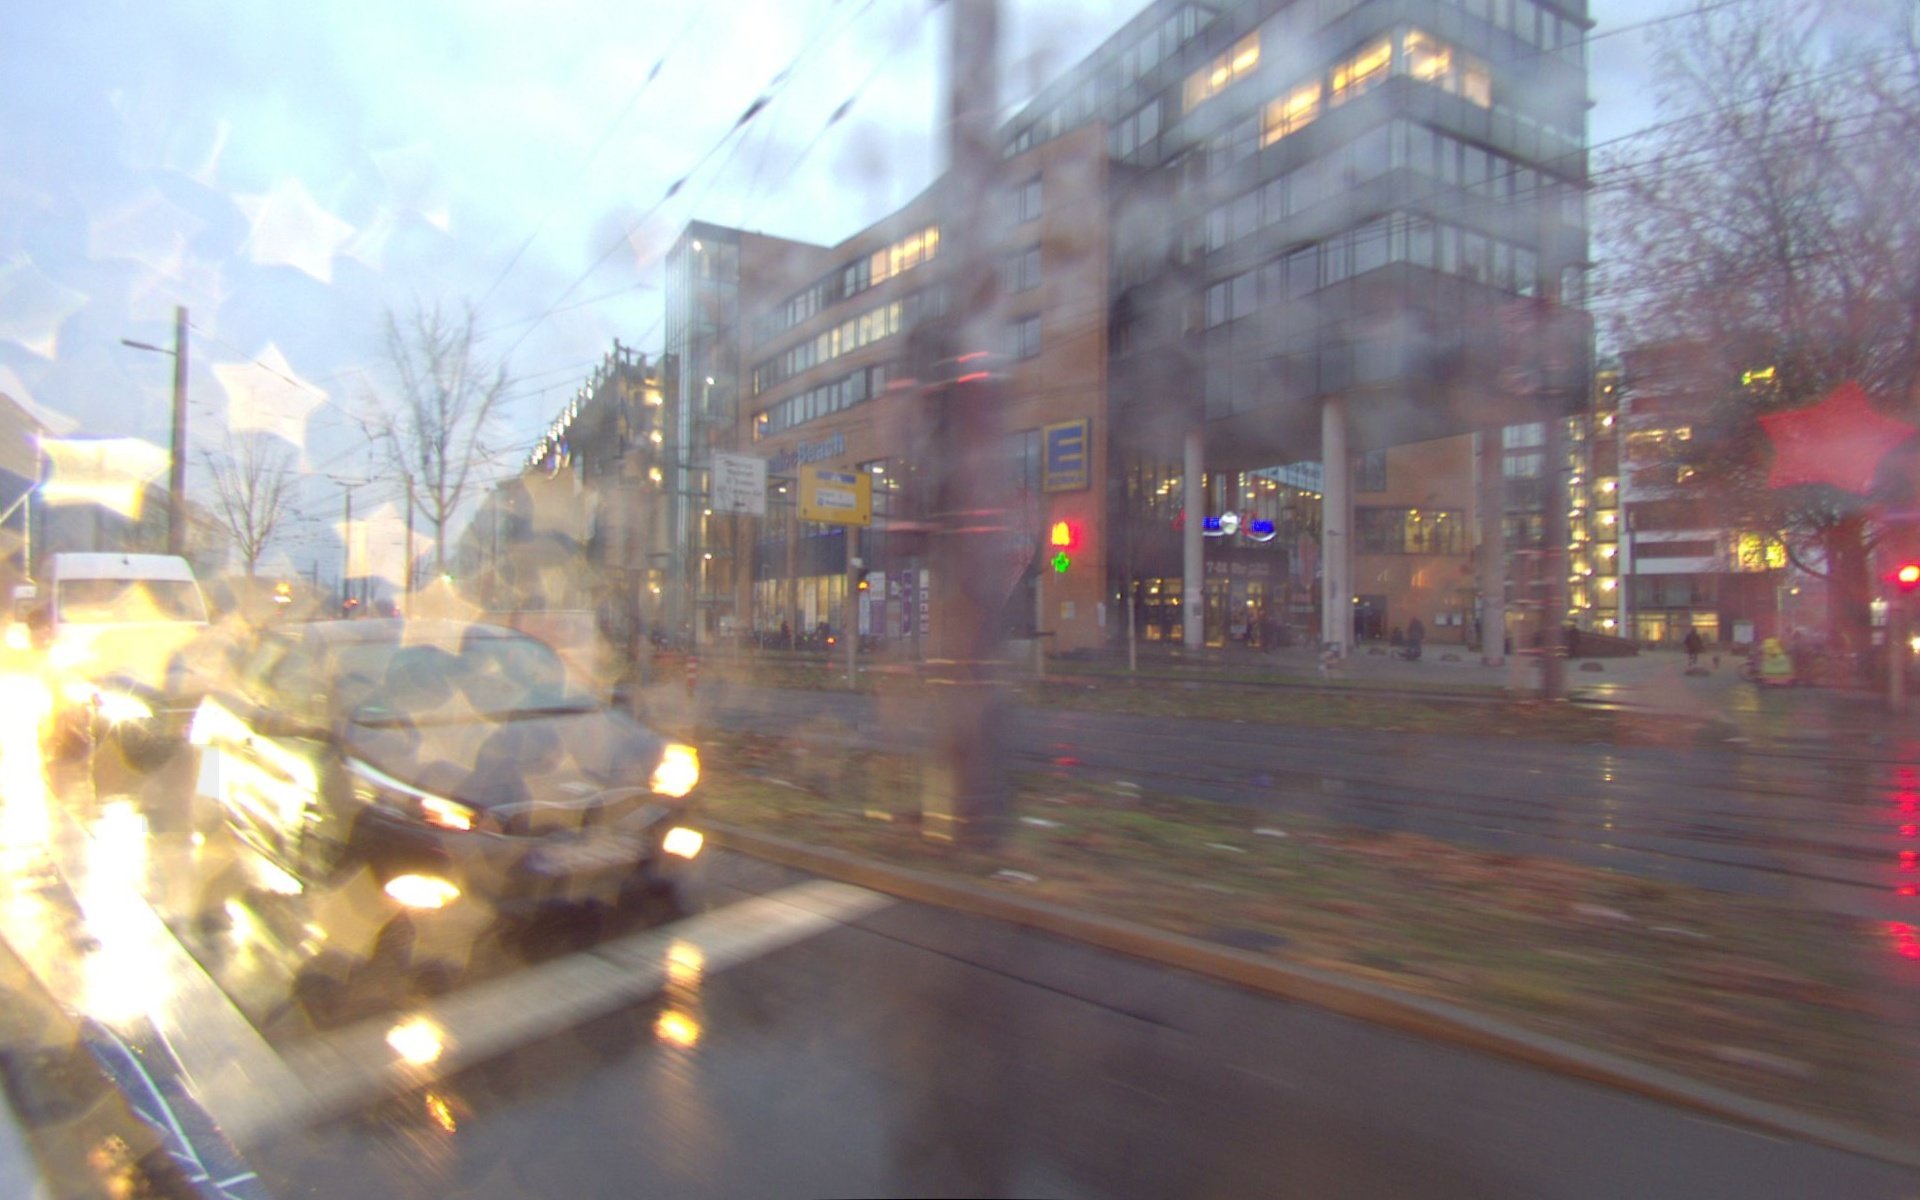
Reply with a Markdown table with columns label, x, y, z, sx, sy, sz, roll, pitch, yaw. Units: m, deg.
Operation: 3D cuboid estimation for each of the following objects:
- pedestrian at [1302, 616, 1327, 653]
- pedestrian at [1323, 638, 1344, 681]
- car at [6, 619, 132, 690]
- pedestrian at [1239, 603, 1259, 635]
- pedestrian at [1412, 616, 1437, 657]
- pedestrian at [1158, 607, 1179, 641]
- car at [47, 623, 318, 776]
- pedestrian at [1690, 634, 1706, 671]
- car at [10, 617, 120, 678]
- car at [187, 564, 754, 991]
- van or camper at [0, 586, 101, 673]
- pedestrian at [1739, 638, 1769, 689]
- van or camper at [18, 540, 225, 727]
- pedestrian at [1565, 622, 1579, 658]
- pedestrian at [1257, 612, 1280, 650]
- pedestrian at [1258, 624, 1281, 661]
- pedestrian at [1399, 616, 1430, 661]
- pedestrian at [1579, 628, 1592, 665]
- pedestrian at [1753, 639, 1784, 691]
| label | x | y | z | sx | sy | sz | roll | pitch | yaw |
| --- | --- | --- | --- | --- | --- | --- | --- | --- | --- |
| pedestrian | 16.466 | 1.594 | 47.055 | 0.913 | 1.721 | 0.693 | 0 | -2 | 2 |
| pedestrian | 11.444 | 1.807 | 31.031 | 0.495 | 1.274 | 0.440 | -1 | 0 | 38 |
| car | -19.892 | 1.146 | 22.549 | 3.953 | 1.409 | 1.800 | -1 | -1 | 44 |
| pedestrian | 13.720 | 0.895 | 48.026 | 0.642 | 1.515 | 0.695 | 2 | -3 | -38 |
| pedestrian | 19.829 | 1.543 | 43.224 | 0.716 | 1.721 | 0.695 | 2 | -3 | -38 |
| pedestrian | 9.332 | 1.092 | 45.279 | 0.642 | 1.515 | 0.695 | 2 | -3 | -38 |
| car | -8.808 | 0.950 | 11.326 | 4.226 | 1.342 | 1.800 | -1 | -1 | 44 |
| pedestrian | 34.283 | 2.430 | 47.025 | 0.561 | 1.696 | 0.590 | -1 | -2 | 38 |
| car | -22.951 | 1.162 | 25.904 | 3.953 | 1.409 | 1.800 | -1 | -1 | 44 |
| car | -2.940 | 0.704 | 5.685 | 3.762 | 1.585 | 1.661 | -1 | -2 | 44 |
| van or camper | -27.214 | 0.827 | 30.206 | 2.154 | 2.370 | 5.655 | 0 | -1 | -43 |
| pedestrian | 26.815 | 2.136 | 34.182 | 0.591 | 1.696 | 0.560 | 0 | -2 | 9 |
| van or camper | -13.967 | 0.470 | 16.691 | 5.887 | 2.567 | 2.033 | -1 | 0 | 44 |
| pedestrian | 30.093 | 1.966 | 49.777 | 0.446 | 1.764 | 0.645 | -1 | -2 | 42 |
| pedestrian | 13.735 | 1.386 | 45.049 | 0.730 | 1.669 | 0.695 | 2 | -3 | -38 |
| pedestrian | 12.802 | 1.746 | 41.881 | 0.642 | 1.515 | 0.695 | 2 | -3 | -38 |
| pedestrian | 19.120 | 1.631 | 42.592 | 0.763 | 1.860 | 0.924 | 2 | -3 | -39 |
| pedestrian | 30.521 | 2.254 | 49.375 | 0.446 | 1.764 | 0.645 | -1 | -2 | 42 |
| pedestrian | 26.779 | 2.155 | 33.525 | 0.591 | 1.696 | 0.560 | 0 | -2 | 10 |
